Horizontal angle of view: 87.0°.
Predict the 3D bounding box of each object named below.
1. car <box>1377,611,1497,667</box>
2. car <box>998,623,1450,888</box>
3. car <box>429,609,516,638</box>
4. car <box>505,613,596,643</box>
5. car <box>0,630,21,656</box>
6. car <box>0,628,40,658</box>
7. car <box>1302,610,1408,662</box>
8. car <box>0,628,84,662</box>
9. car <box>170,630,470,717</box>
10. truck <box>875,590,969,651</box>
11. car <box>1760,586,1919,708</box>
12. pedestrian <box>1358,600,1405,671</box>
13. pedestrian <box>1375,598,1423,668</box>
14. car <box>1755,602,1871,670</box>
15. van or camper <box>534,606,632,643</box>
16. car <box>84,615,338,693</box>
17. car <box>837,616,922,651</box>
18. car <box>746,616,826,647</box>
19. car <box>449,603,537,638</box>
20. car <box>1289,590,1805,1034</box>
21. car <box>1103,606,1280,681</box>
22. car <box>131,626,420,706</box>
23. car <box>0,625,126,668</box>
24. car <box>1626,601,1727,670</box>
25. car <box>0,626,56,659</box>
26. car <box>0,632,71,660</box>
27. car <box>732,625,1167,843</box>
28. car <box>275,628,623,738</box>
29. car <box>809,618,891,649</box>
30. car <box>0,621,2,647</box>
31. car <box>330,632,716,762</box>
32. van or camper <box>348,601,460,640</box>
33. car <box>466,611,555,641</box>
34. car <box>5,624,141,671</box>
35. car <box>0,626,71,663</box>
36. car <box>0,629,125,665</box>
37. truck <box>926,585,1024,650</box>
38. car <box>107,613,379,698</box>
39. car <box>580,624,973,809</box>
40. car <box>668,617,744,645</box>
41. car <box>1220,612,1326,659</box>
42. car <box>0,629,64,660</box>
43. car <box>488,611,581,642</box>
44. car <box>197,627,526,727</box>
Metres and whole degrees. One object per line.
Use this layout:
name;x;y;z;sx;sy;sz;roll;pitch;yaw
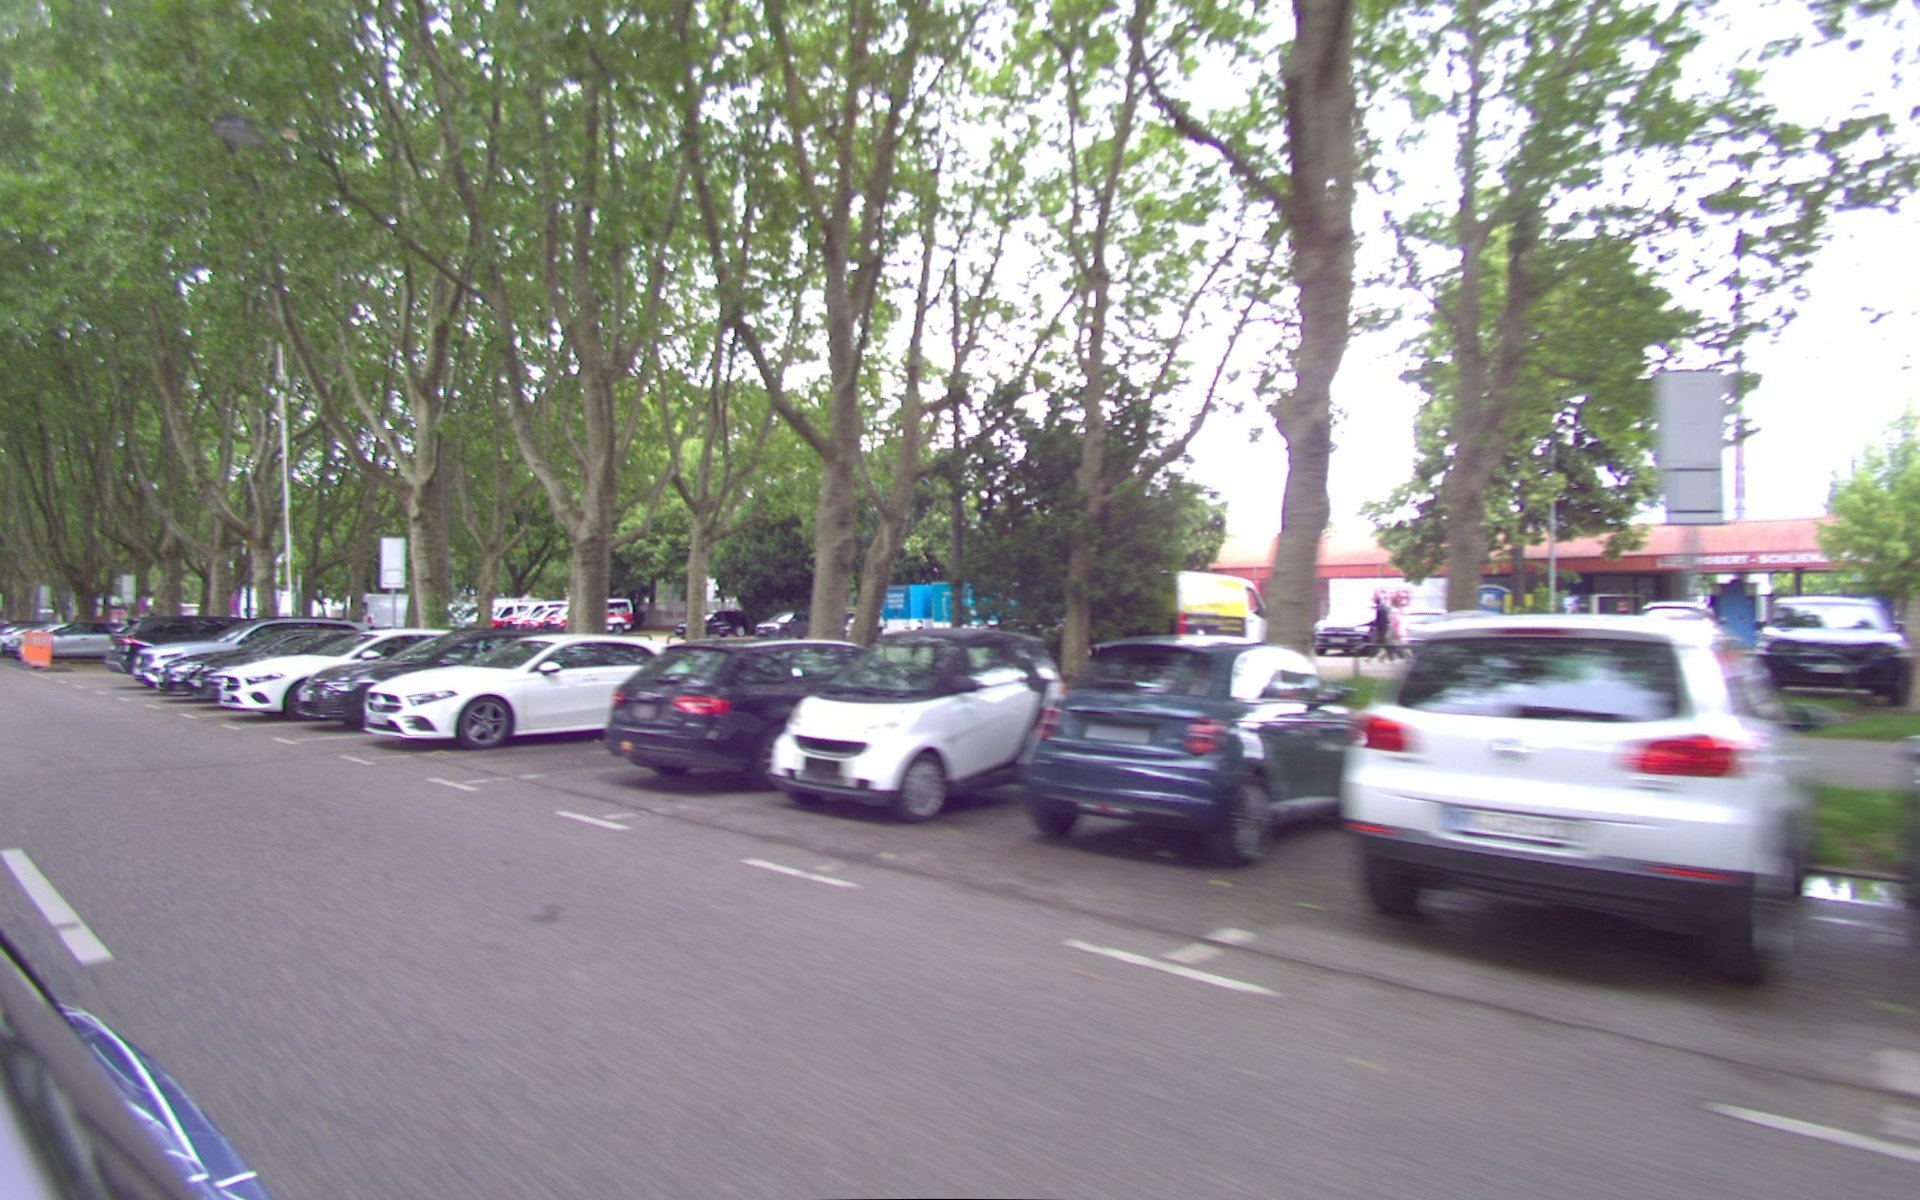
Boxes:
car;14.700;1.120;31.016;2.181;1.532;4.891;-1;0;40
car;2.270;0.949;7.991;1.855;1.464;3.944;-1;0;42
car;-36.794;1.826;76.562;2.391;2.036;5.398;-1;-3;39
car;-27.308;1.821;67.649;1.998;1.864;5.399;-1;0;39
car;-55.088;2.369;56.348;2.000;1.442;3.943;-3;-5;43
car;-50.954;2.257;52.967;1.799;1.539;3.985;-3;-5;43
car;12.722;1.104;32.450;1.937;1.521;3.945;-2;-1;41
car;-43.349;2.071;46.902;1.874;1.525;3.943;-2;-4;43
car;-11.717;1.307;18.798;1.722;1.406;4.364;-2;-3;38
truck;-1.693;0.900;45.743;2.122;2.628;3.944;-1;-1;42
car;14.485;0.781;16.678;1.998;1.734;4.507;-1;-3;39
pedestrian;11.021;0.900;26.461;0.918;1.814;0.808;-1;-1;41
pedestrian;11.781;0.869;27.144;0.918;1.814;0.932;-1;-1;41
car;21.590;0.850;25.761;1.997;1.562;3.982;-1;0;37
van or camper;-24.768;1.570;66.603;2.328;2.272;5.646;-1;0;41
car;-17.459;1.258;23.778;2.044;1.639;4.366;-1;-3;37
car;-3.745;1.515;47.329;1.732;1.519;3.947;-1;0;39
car;-8.924;1.573;52.173;1.798;1.498;3.950;-1;0;37
car;-34.384;1.471;74.628;2.391;2.536;5.399;-1;0;39
car;3.672;0.816;5.963;1.855;1.695;3.944;-1;0;42
car;5.828;0.977;24.930;2.093;1.608;5.294;-1;0;40
car;-13.566;1.275;20.295;2.044;1.406;4.365;-1;-3;38
car;-34.097;1.782;38.226;1.676;1.550;3.796;-2;-4;43
car;18.589;0.863;26.240;1.997;1.638;3.950;-1;0;37
car;-49.061;2.175;51.756;2.000;1.641;3.974;-3;-5;43
car;-45.124;2.202;48.221;2.000;1.320;3.943;-3;-5;43
car;0.082;1.013;9.354;1.855;1.464;3.944;-1;0;42
car;-7.607;1.193;15.416;1.783;1.428;4.359;-2;-4;42
car;-5.311;1.578;49.138;1.727;1.387;3.966;-1;0;37
car;-67.556;2.365;68.108;4.430;1.764;2.001;-2;1;-44
car;-5.722;1.199;13.759;2.044;1.455;4.367;-1;-3;37
van or camper;-32.011;1.139;58.371;2.242;2.115;5.233;-1;0;39
car;-32.339;1.806;72.870;2.391;2.036;5.399;-1;0;39
car;-32.144;1.735;36.724;1.847;1.590;3.518;-2;-4;43
car;-41.815;1.955;44.588;1.847;1.581;3.796;-2;-4;43
car;-37.781;1.959;42.017;2.090;1.445;4.514;-2;-4;43
truck;0.694;0.745;44.568;2.375;2.737;3.947;-1;-1;40
car;-15.461;1.190;22.063;2.042;1.639;4.371;-1;-3;34
car;-1.722;1.030;10.663;1.851;1.464;3.953;-1;0;35
car;-14.198;1.710;56.739;1.798;1.498;3.950;-1;0;37
car;10.689;1.177;34.393;1.990;1.460;3.945;-2;-1;41
car;-47.174;2.209;50.144;2.000;1.482;3.943;-3;-5;43
car;-29.111;1.765;69.407;2.473;2.013;5.399;-1;0;39
car;-9.784;1.220;16.854;1.774;1.435;4.363;-2;-3;39
